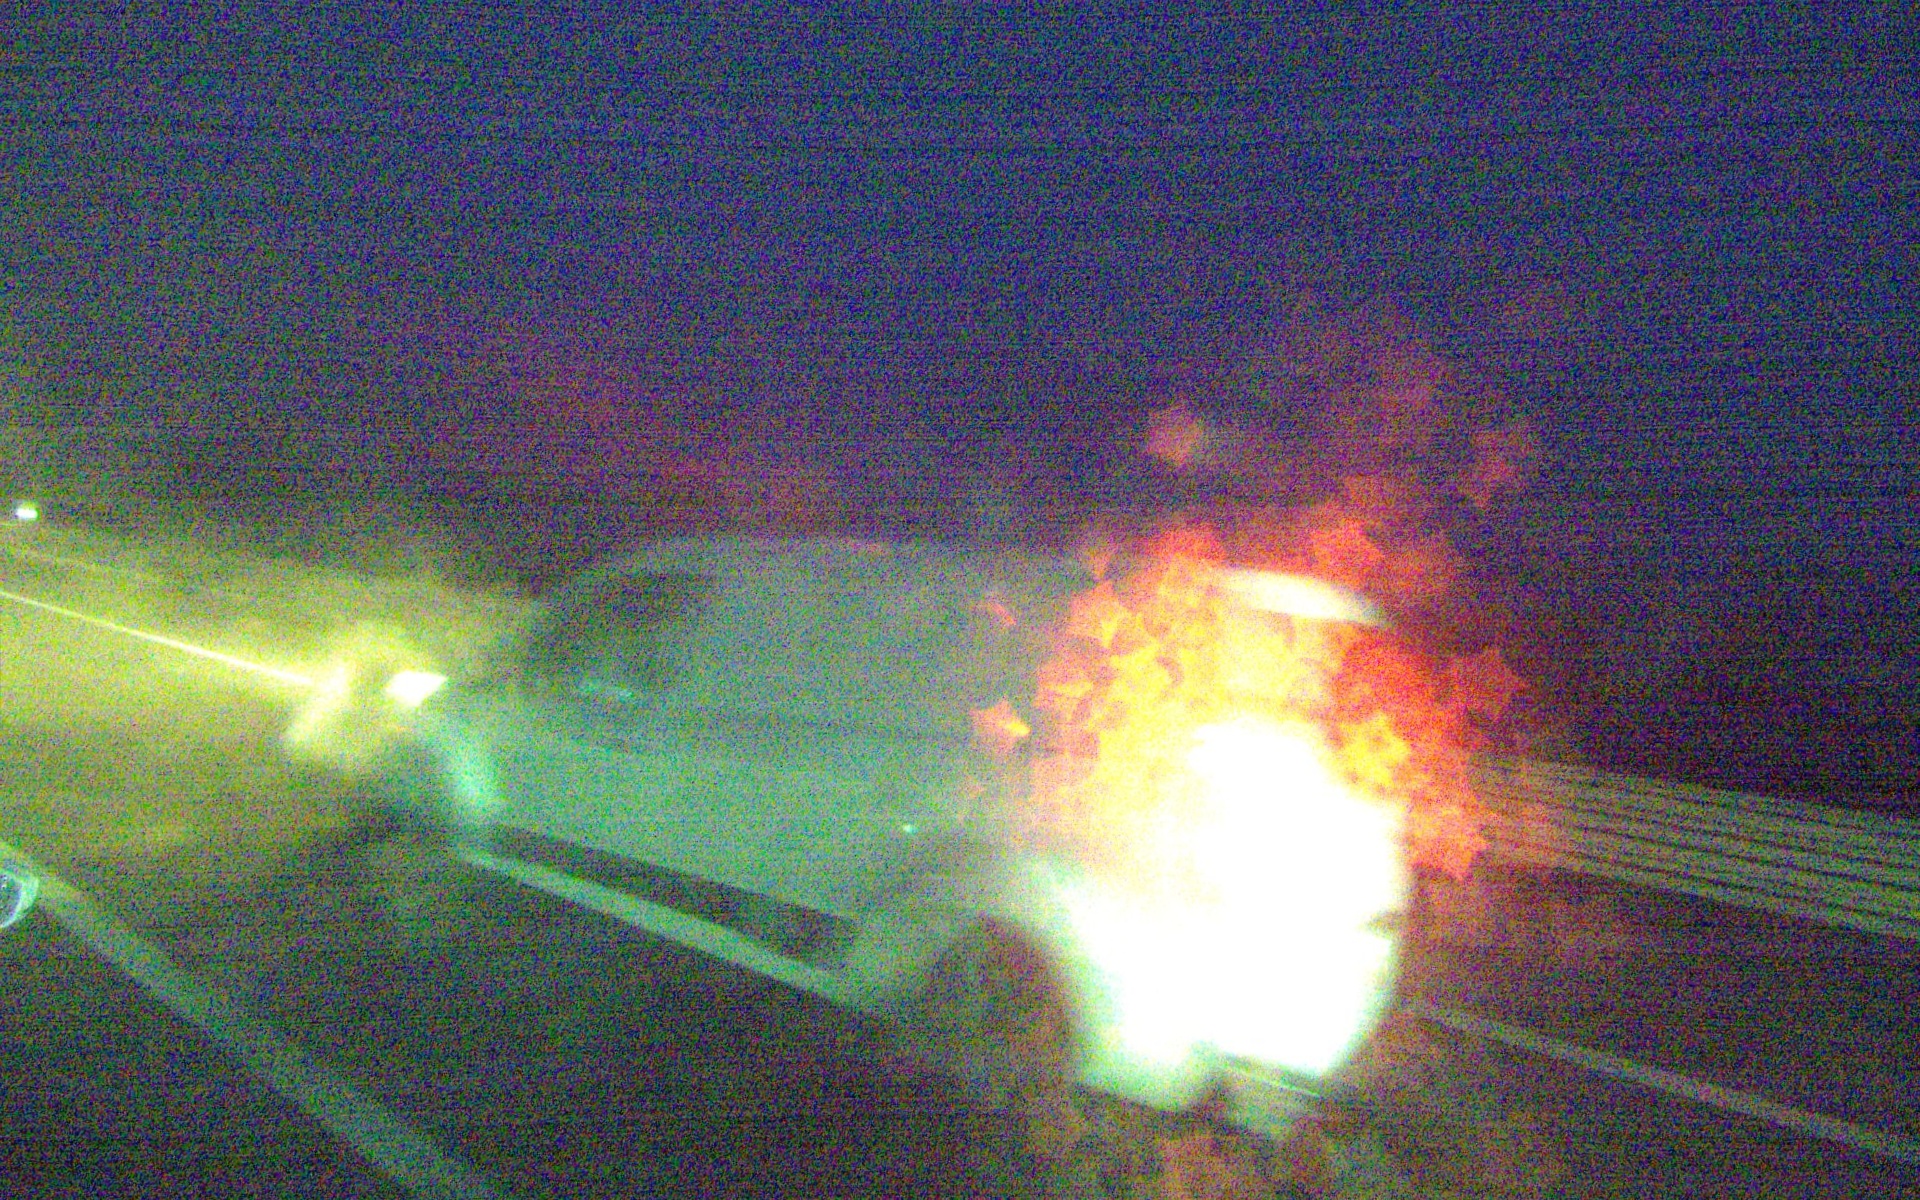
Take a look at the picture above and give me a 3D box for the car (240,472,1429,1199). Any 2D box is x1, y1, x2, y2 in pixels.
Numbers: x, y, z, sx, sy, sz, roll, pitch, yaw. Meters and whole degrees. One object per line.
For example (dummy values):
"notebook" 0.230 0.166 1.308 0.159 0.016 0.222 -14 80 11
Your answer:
"car" -0.850 0.591 4.530 5.040 1.812 1.957 6 -3 32
